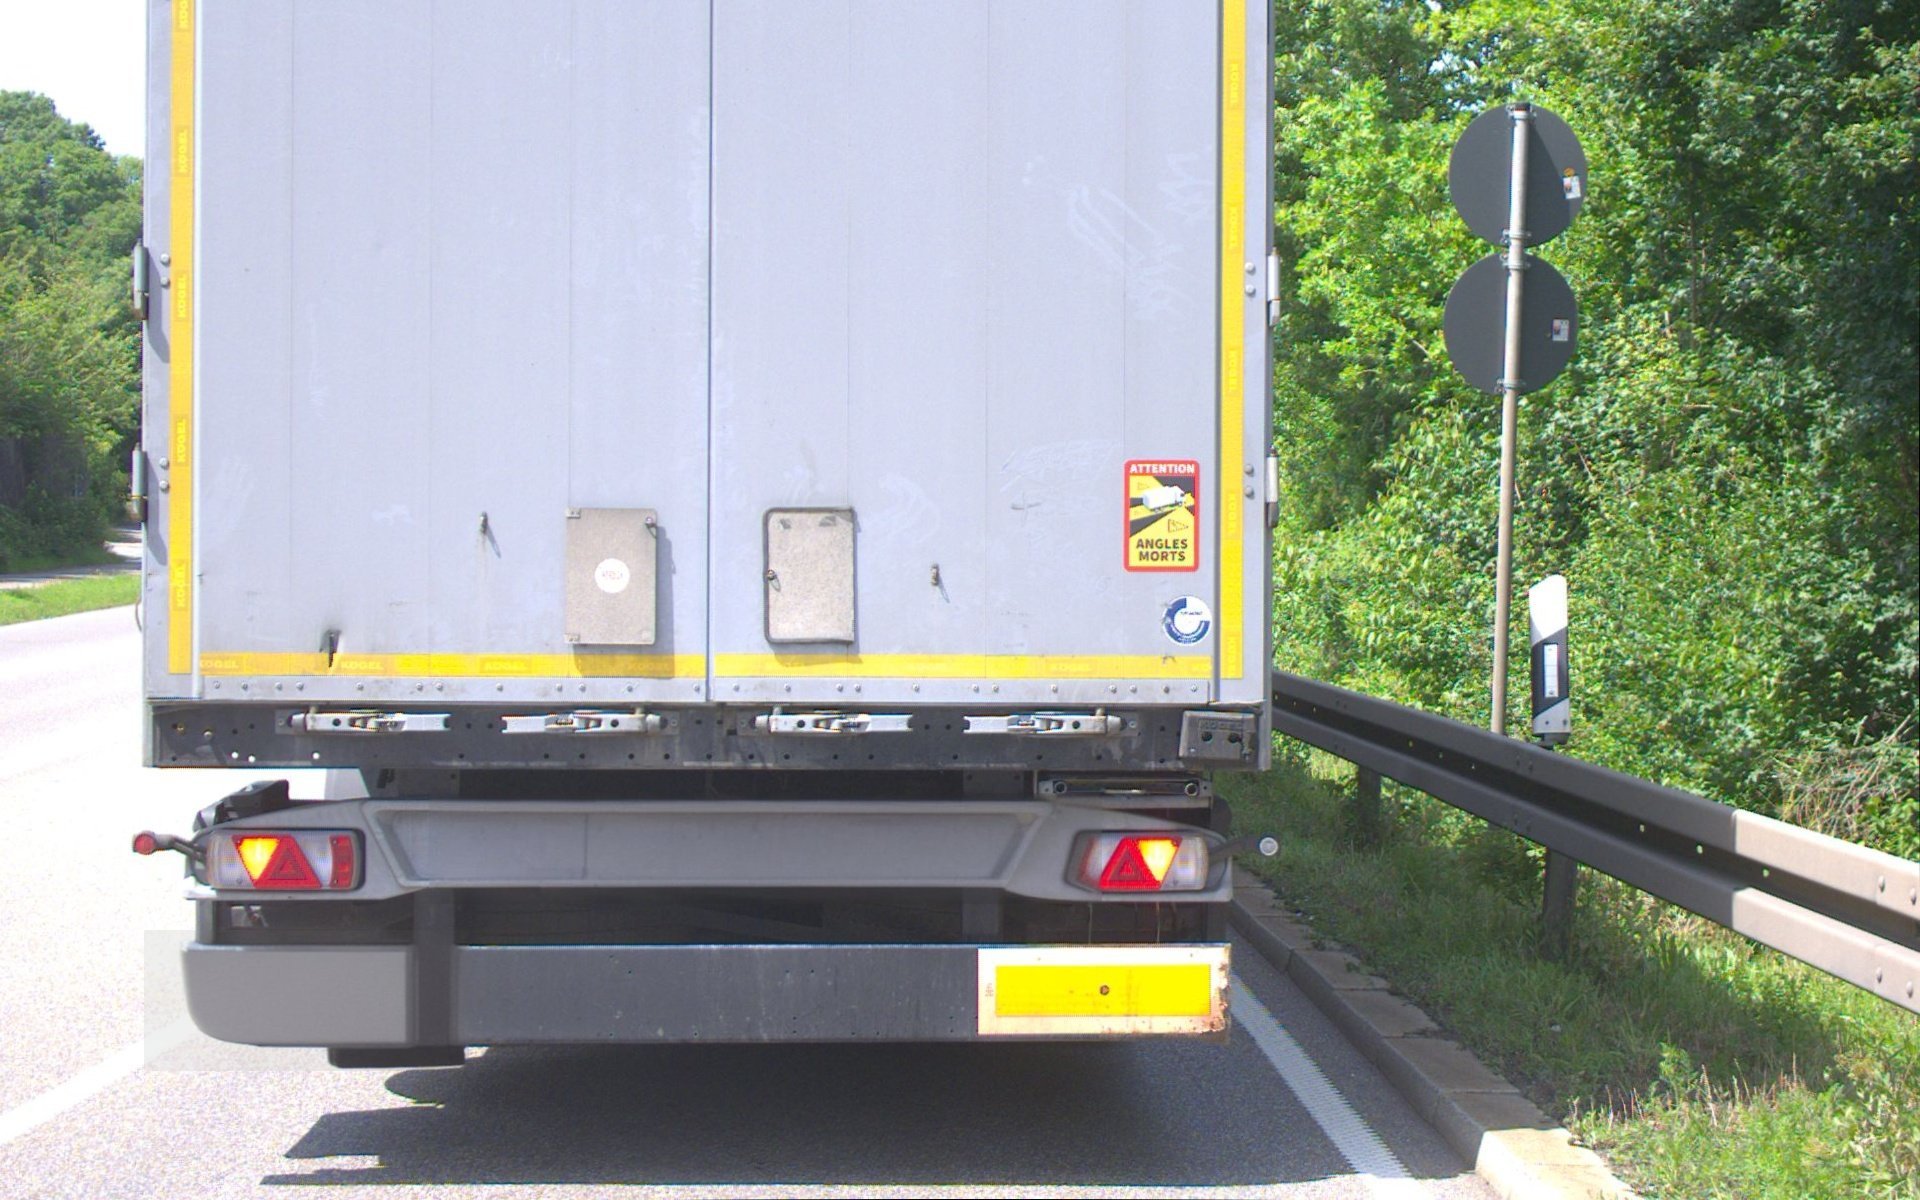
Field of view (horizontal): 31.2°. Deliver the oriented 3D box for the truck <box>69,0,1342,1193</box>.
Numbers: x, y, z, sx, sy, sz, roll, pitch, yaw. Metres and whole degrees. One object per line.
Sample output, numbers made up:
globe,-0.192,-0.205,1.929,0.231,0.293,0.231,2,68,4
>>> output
truck,-0.690,-0.841,13.450,2.757,4.016,11.925,0,1,-1
